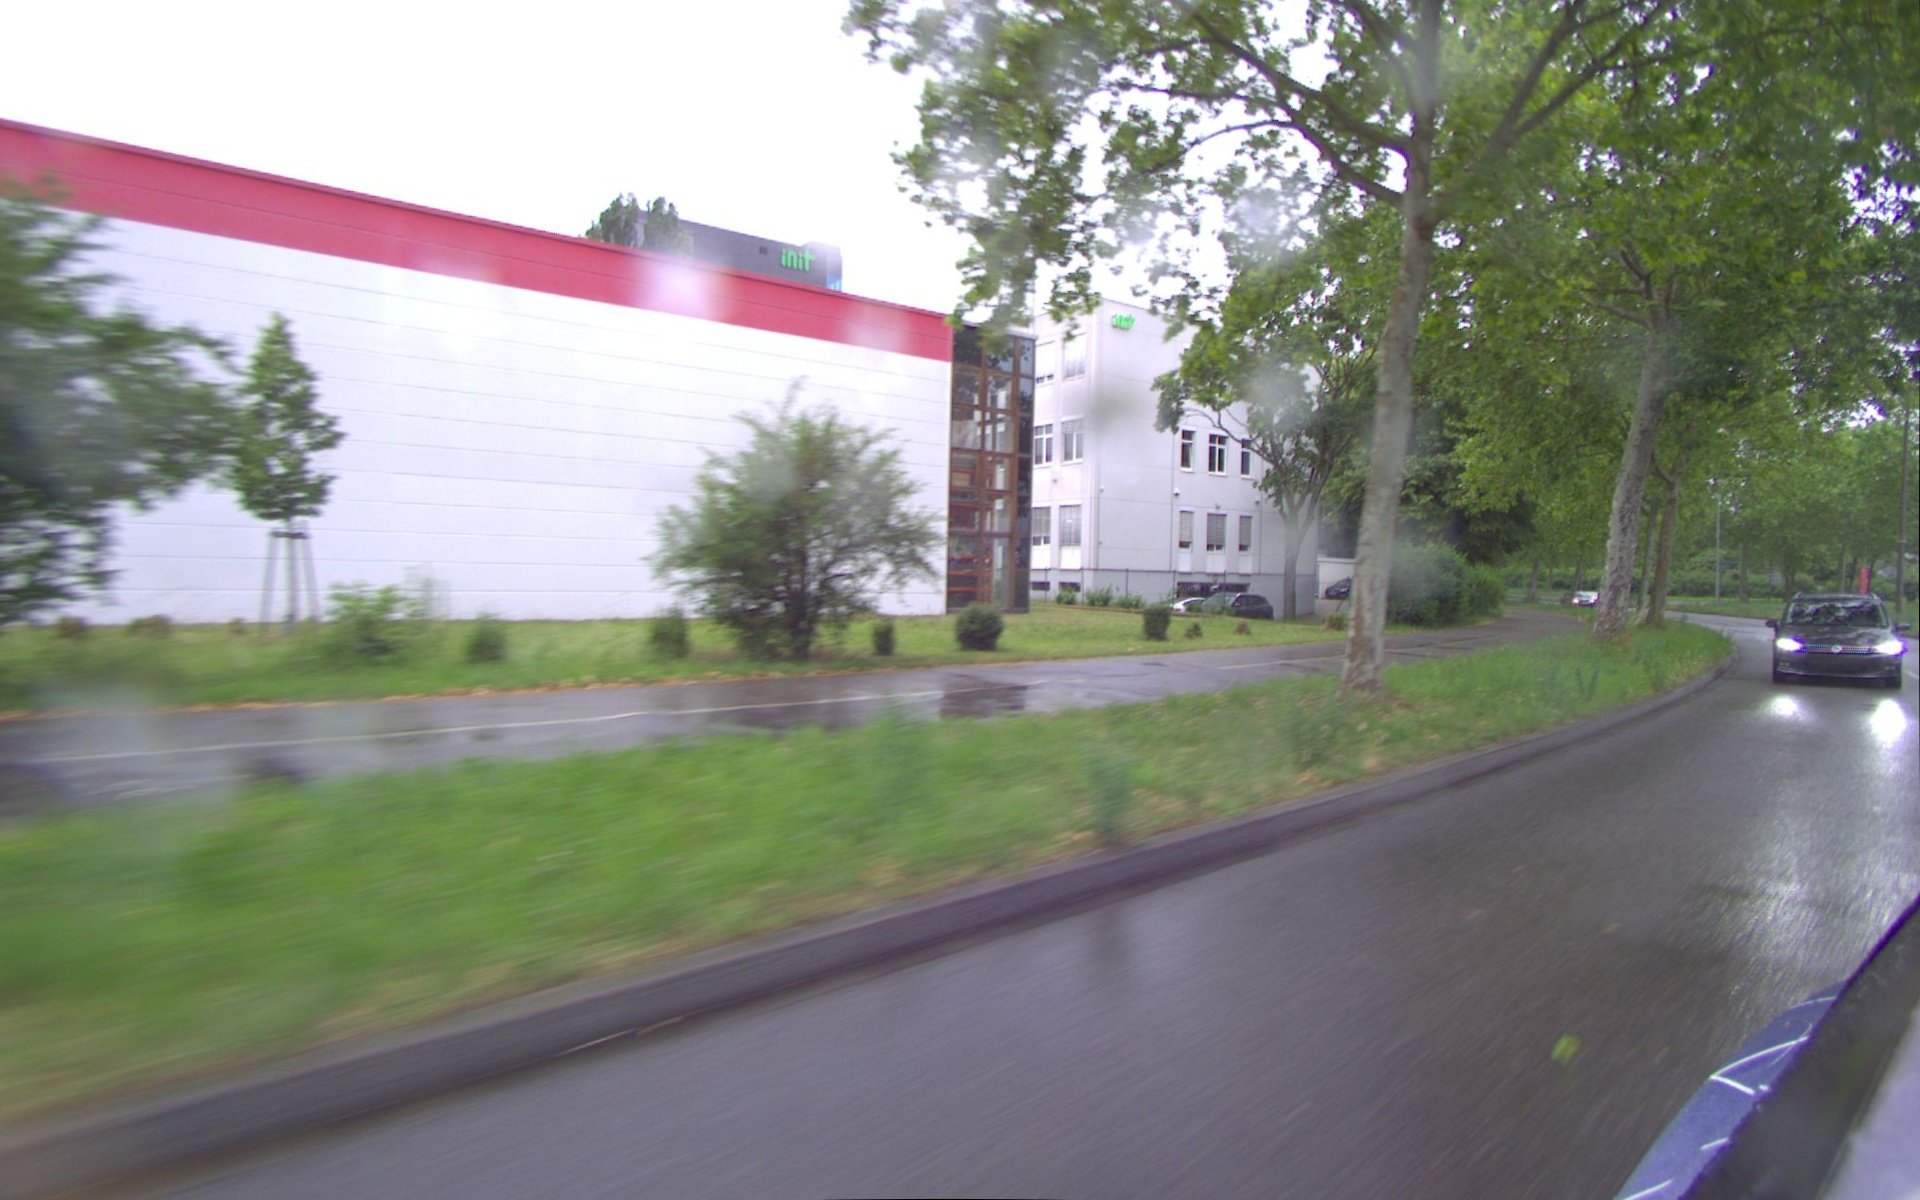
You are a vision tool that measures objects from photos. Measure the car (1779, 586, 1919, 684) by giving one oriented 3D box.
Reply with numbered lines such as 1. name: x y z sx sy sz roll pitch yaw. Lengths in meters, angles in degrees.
1. car: 16.426 0.549 18.699 1.779 1.575 3.939 2 2 42

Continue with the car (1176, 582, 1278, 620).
1. car: 10.908 0.011 41.283 4.031 1.494 1.786 0 1 -32

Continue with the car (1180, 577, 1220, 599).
1. car: 15.712 -0.799 66.179 1.585 1.375 3.667 1 1 31

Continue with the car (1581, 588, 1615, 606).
1. car: 57.704 -0.265 91.606 1.764 1.575 3.972 1 1 21

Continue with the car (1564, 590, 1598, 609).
1. car: 53.166 -0.045 86.731 1.764 1.575 3.972 1 1 21

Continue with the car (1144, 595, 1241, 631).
1. car: 10.107 0.536 43.949 4.031 1.494 1.786 0 1 -32
